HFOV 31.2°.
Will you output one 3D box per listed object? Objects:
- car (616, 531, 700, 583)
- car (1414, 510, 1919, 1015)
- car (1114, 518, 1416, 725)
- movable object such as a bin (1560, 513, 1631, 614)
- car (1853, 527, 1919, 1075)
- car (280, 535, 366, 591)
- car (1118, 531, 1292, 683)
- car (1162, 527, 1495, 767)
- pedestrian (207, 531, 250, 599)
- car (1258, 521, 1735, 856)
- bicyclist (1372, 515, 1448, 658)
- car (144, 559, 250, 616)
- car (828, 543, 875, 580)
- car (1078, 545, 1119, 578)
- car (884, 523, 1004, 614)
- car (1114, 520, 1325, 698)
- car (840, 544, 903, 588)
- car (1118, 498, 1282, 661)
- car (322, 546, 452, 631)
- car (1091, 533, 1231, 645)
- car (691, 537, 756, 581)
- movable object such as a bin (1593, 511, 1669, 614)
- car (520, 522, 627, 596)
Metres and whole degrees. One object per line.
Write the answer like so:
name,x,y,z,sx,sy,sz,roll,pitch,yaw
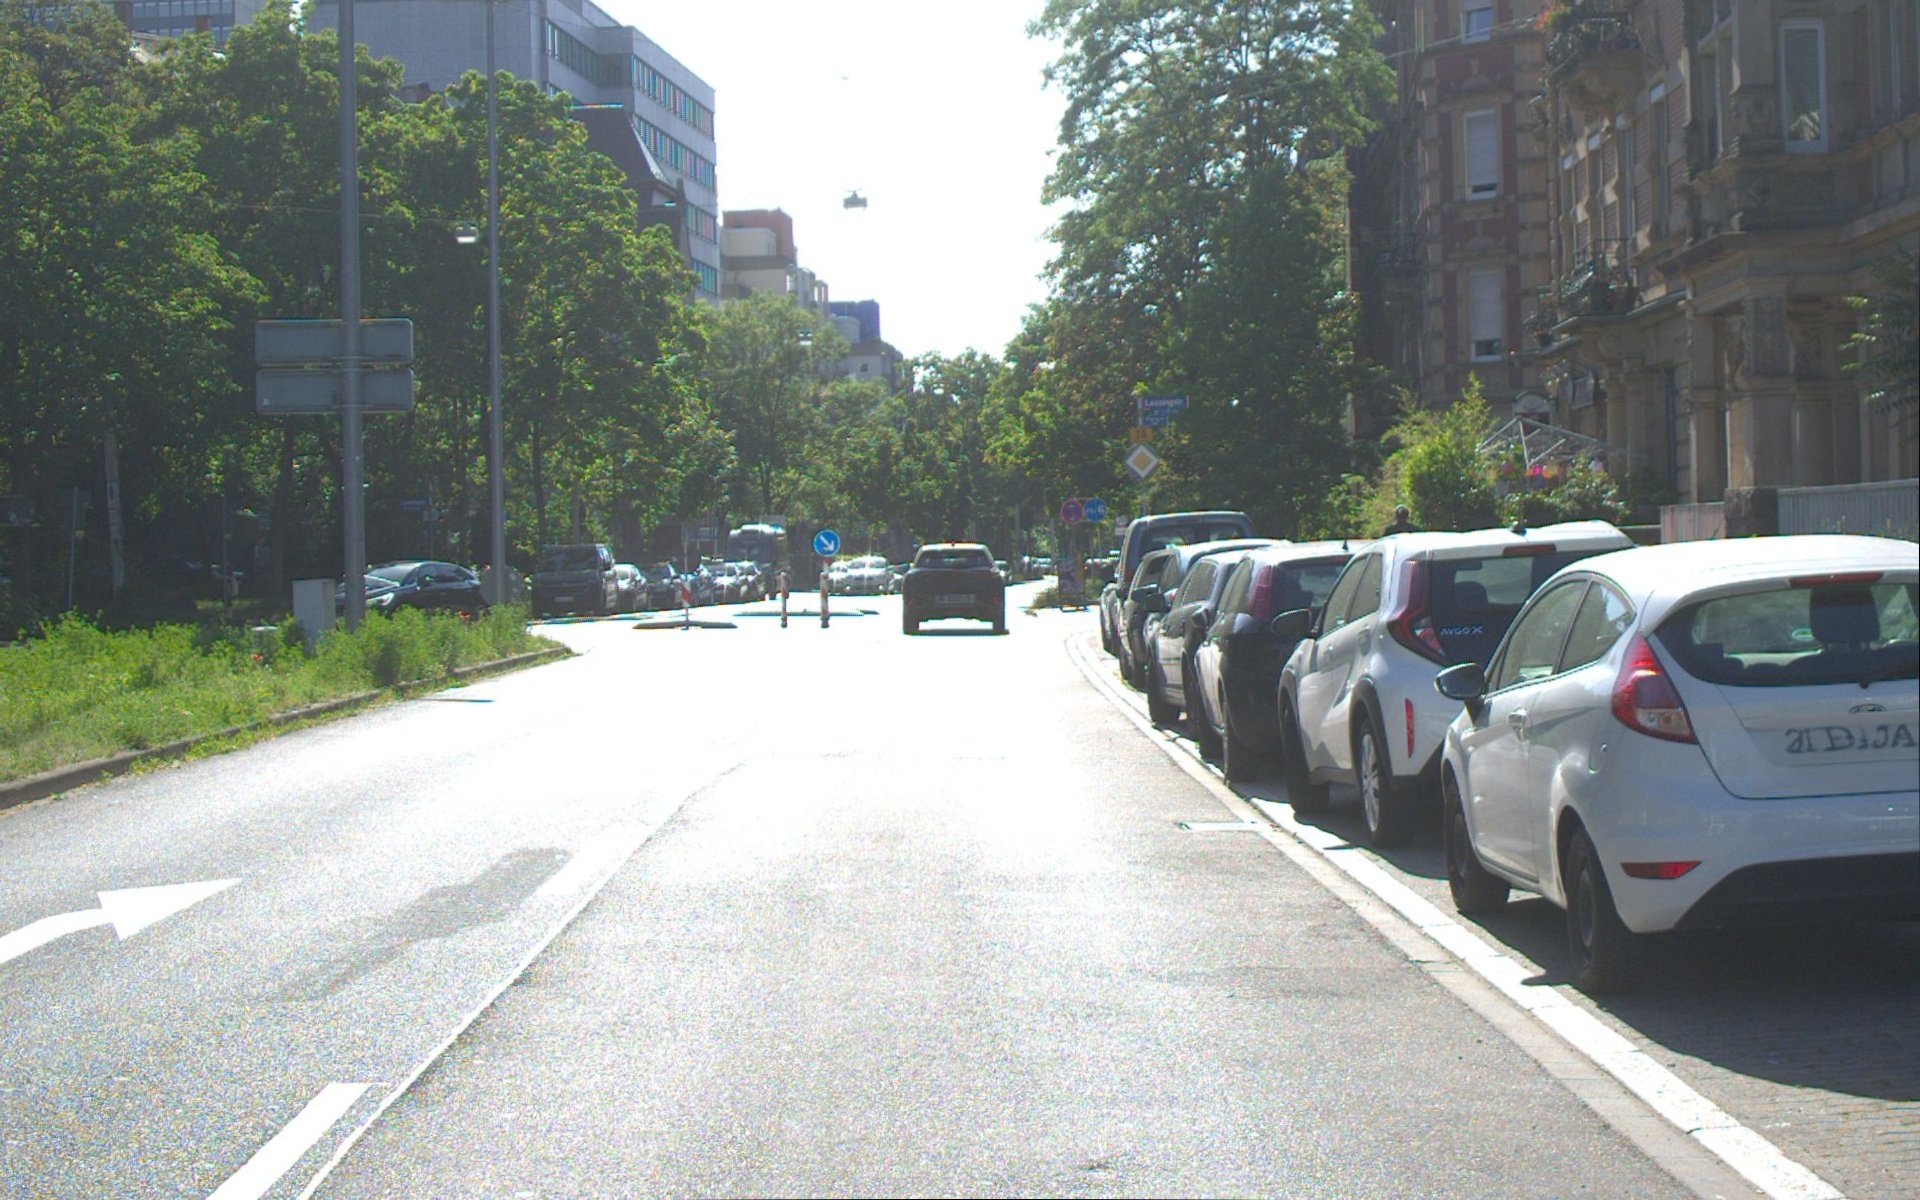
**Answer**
car,-9.344,-1.351,106.508,1.759,1.514,3.858,-1,1,7
car,2.779,0.454,12.434,1.608,1.441,3.659,-4,2,-1
car,2.405,0.110,28.207,1.935,1.514,4.484,-1,1,-1
movable object such as a bin,7.437,-0.422,40.259,0.722,1.153,0.608,0,-2,2
car,3.461,0.520,7.485,1.668,1.455,3.987,-4,2,-4
car,-20.022,-1.169,107.912,1.974,1.656,4.001,-2,1,-20
car,2.547,0.029,36.535,1.668,1.463,4.274,-1,1,2
car,2.334,0.243,22.600,1.668,1.389,3.775,-1,1,-1
pedestrian,-17.685,-0.843,83.101,0.669,1.621,0.714,0,1,34
car,2.660,0.368,17.837,1.668,1.514,3.662,-2,1,-3
bicyclist,5.063,-0.163,38.715,0.741,1.574,1.100,0,2,2
car,-23.586,-0.405,106.177,1.975,1.656,4.000,-2,2,-31
car,-4.708,-1.673,149.331,1.802,1.499,3.808,-2,1,2
car,7.106,-1.993,176.566,1.920,1.634,4.000,-1,1,5
car,-0.312,-0.564,60.150,1.894,1.514,4.001,1,1,-3
car,2.424,0.042,32.768,1.621,1.465,3.299,5,2,-1
car,-3.352,-1.294,130.224,1.759,1.514,3.858,-2,2,7
car,2.876,-0.296,41.984,1.819,1.837,4.364,-1,1,2
car,-10.703,-0.246,64.427,1.795,1.514,4.424,0,1,-1
car,2.777,-0.185,48.167,1.709,1.420,4.206,2,1,1
car,-8.016,-1.397,116.806,1.524,1.427,3.336,-1,1,7
movable object such as a bin,7.698,-0.425,39.482,0.759,1.153,0.608,0,-2,2
car,-10.697,-1.160,95.488,2.199,1.923,4.862,-2,1,2
